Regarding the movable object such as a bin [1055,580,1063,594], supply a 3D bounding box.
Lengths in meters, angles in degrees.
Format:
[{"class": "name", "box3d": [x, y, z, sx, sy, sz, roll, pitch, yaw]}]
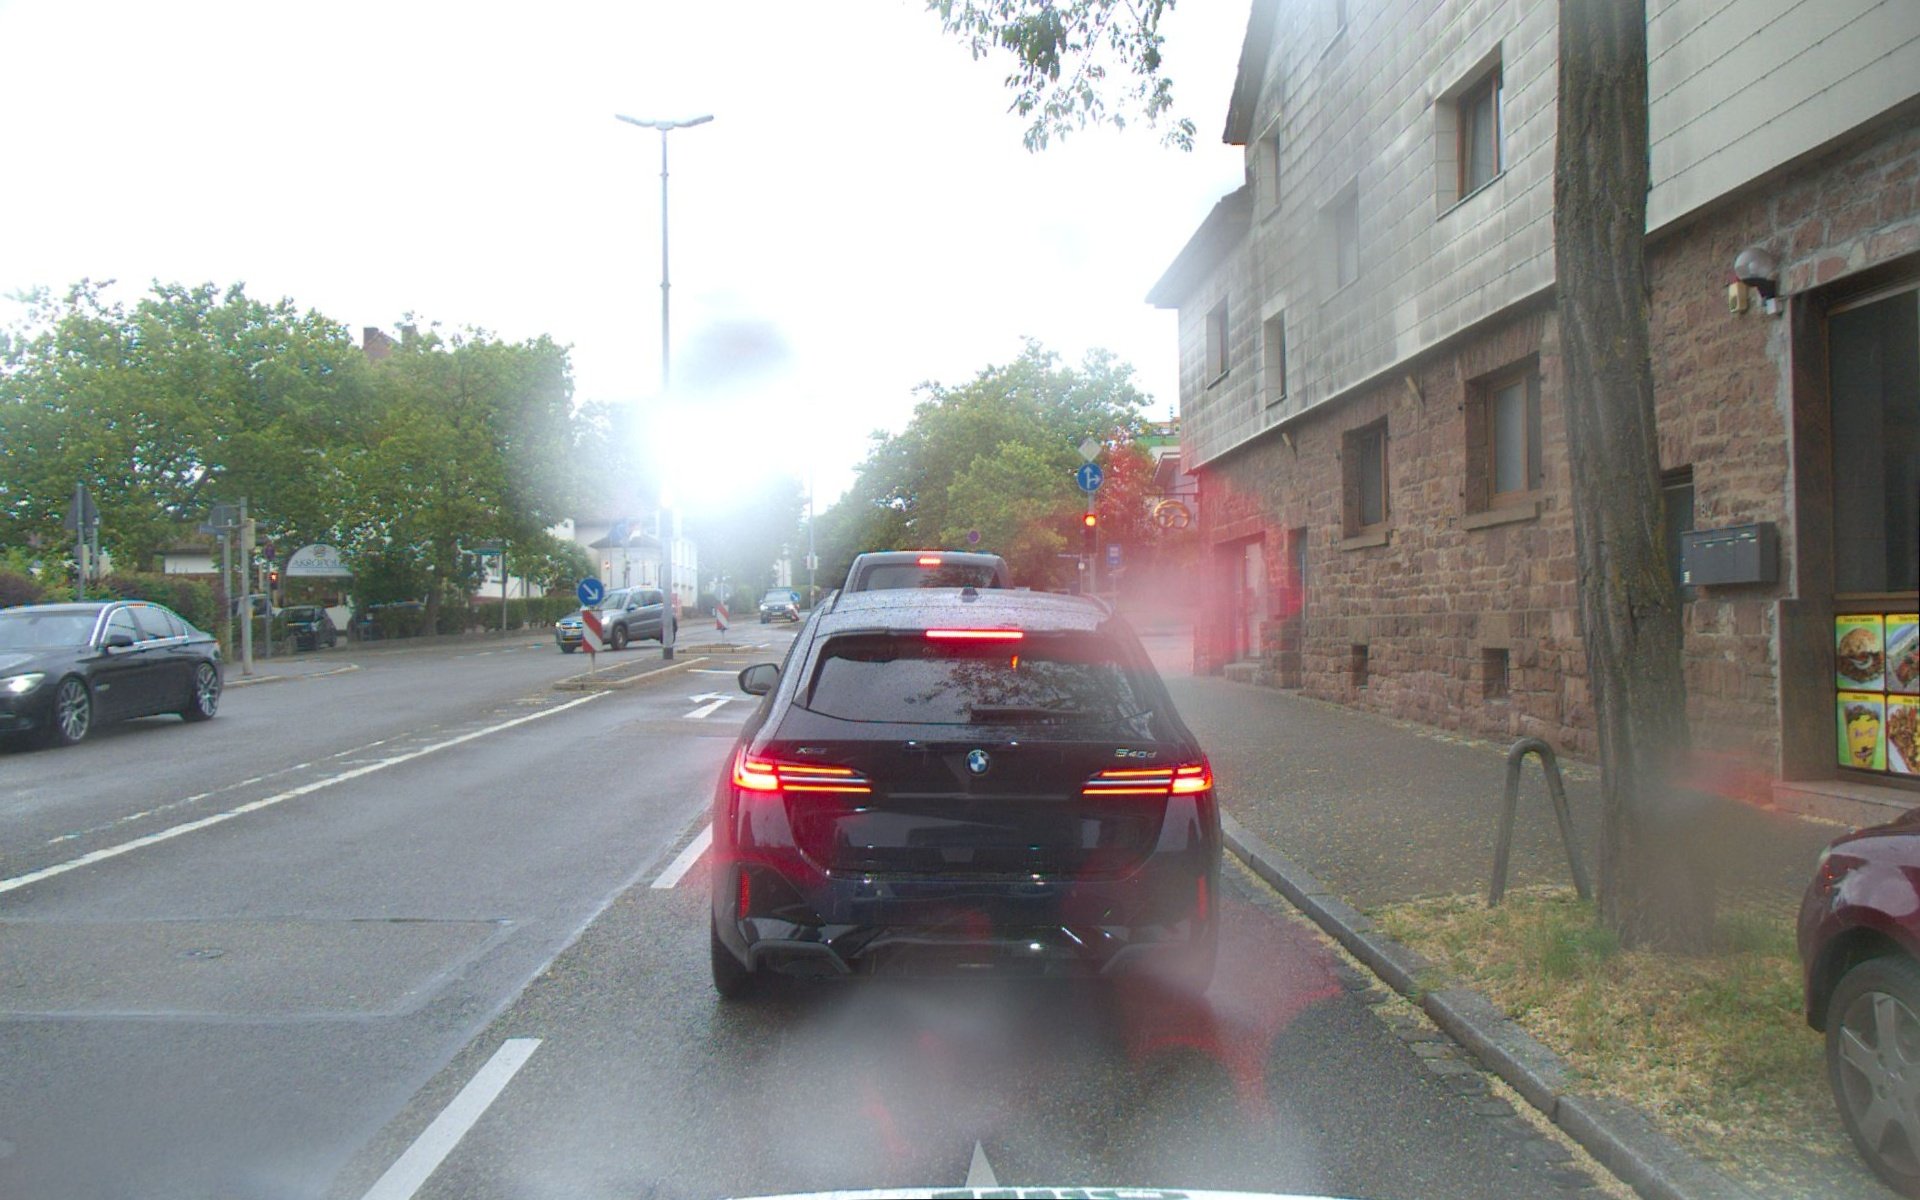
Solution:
[{"class": "movable object such as a bin", "box3d": [6.889, -0.917, 115.357, 0.440, 0.921, 0.463, 1, -1, 14]}]

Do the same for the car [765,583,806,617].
[{"class": "car", "box3d": [-8.760, -0.011, 83.176, 1.861, 1.604, 4.499, -1, 1, -4]}]

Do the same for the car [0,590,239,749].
[{"class": "car", "box3d": [-9.867, 0.728, 18.203, 1.873, 1.479, 4.944, -4, 0, -4]}]

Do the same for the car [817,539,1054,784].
[{"class": "car", "box3d": [-0.301, 0.477, 14.459, 1.776, 1.840, 3.753, 1, 0, -4]}]

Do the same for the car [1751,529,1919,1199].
[{"class": "car", "box3d": [3.063, 0.579, 2.690, 1.578, 1.530, 3.753, 1, -2, -4]}]

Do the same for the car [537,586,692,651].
[{"class": "car", "box3d": [-9.404, 0.473, 45.412, 1.871, 1.618, 4.313, -1, 0, 27]}]

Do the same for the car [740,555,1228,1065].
[{"class": "car", "box3d": [-0.029, 0.662, 6.886, 1.494, 1.561, 3.529, 1, 0, -4]}]

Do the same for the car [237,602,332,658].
[{"class": "car", "box3d": [-23.125, 0.987, 56.760, 1.772, 1.578, 4.000, 1, 4, -3]}]
